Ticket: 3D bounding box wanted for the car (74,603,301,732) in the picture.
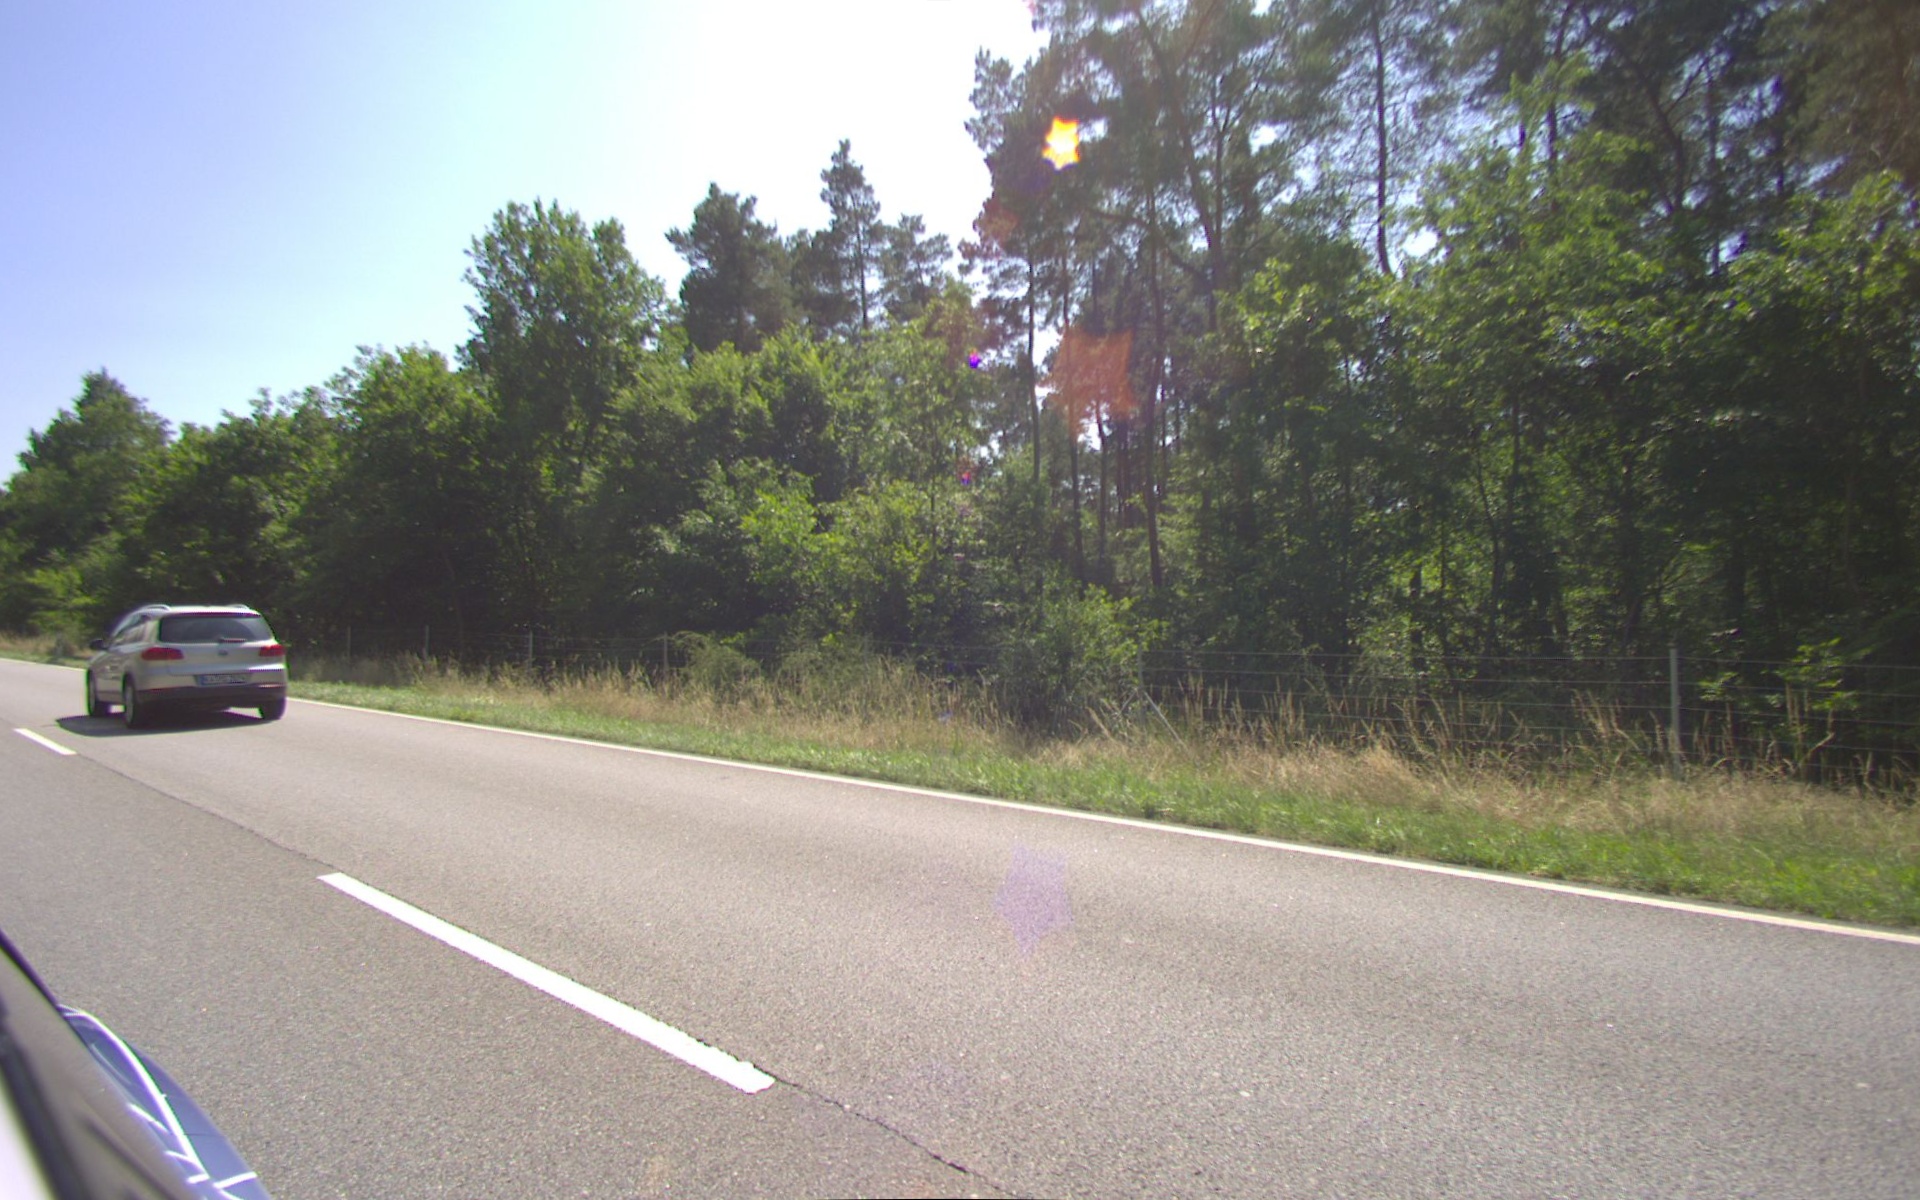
[{"bbox_3d":[-11.429,0.914,14.882,4.090,1.641,1.844,-2,-2,40],"label":"car"}]
